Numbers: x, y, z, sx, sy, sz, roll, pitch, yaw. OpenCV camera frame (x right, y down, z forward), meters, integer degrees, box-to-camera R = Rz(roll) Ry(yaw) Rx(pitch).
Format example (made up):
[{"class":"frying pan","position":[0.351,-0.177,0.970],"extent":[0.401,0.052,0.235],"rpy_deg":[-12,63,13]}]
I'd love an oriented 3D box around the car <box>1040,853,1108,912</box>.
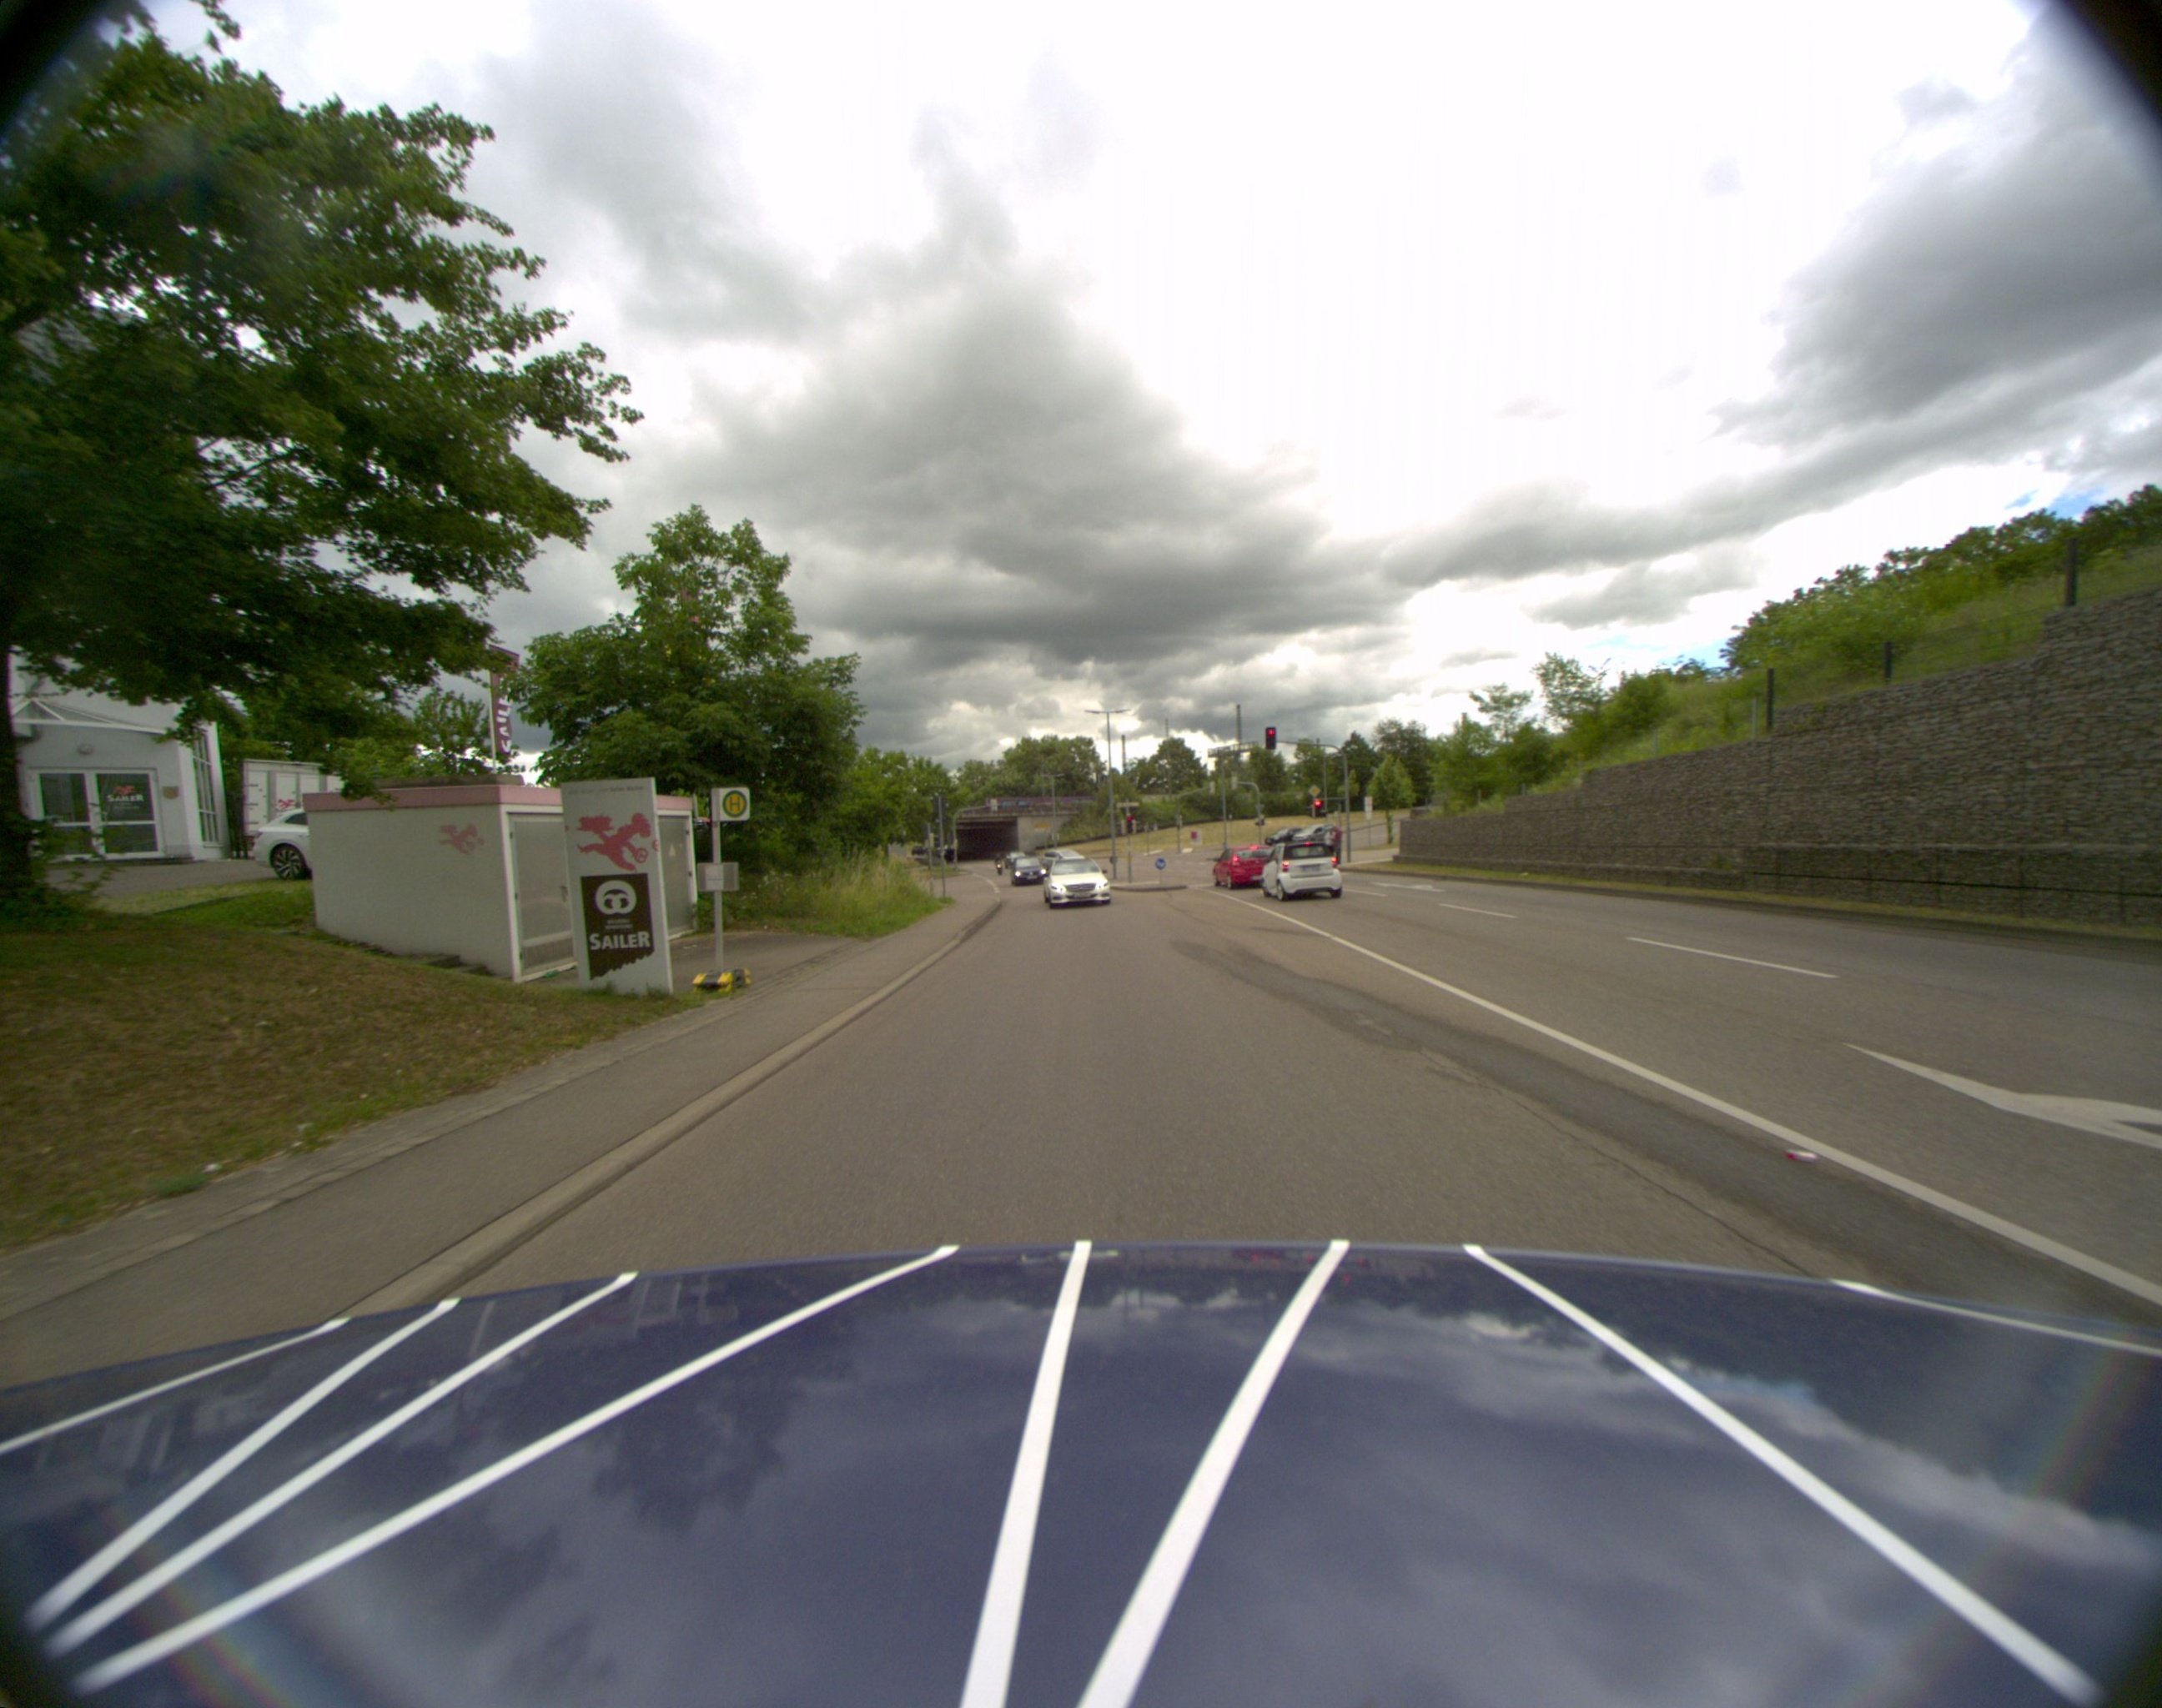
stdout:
[{"class":"car","position":[-0.213,0.839,24.418],"extent":[1.905,1.472,4.093],"rpy_deg":[-5,2,0]}]

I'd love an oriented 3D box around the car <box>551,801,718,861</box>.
[{"class":"car","position":[-14.835,-0.788,25.425],"extent":[4.518,1.629,1.827],"rpy_deg":[-6,3,-32]}]

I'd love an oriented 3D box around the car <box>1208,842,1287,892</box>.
[{"class":"car","position":[5.837,0.433,27.101],"extent":[1.759,1.514,4.092],"rpy_deg":[-5,0,-1]}]

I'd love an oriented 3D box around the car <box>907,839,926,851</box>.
[{"class":"car","position":[-27.069,-1.414,124.893],"extent":[1.968,1.781,3.991],"rpy_deg":[-6,2,-28]}]

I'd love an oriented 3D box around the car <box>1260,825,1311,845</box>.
[{"class":"car","position":[19.218,-1.786,71.258],"extent":[4.267,1.543,2.106],"rpy_deg":[-6,3,-29]}]

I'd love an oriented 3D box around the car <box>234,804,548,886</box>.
[{"class":"car","position":[-13.295,-0.188,14.787],"extent":[4.705,1.373,1.715],"rpy_deg":[-2,3,5]}]

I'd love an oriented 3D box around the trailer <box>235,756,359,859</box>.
[{"class":"trailer","position":[-27.196,-1.516,26.624],"extent":[2.474,3.038,6.476],"rpy_deg":[-7,3,-43]}]

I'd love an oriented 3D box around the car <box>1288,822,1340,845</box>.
[{"class":"car","position":[20.654,-1.797,67.325],"extent":[4.267,1.719,1.756],"rpy_deg":[-6,3,-27]}]

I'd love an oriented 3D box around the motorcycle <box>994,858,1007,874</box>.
[{"class":"motorcycle","position":[-6.395,0.953,60.264],"extent":[0.883,1.098,2.358],"rpy_deg":[-5,2,-9]}]

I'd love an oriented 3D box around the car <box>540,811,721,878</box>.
[{"class":"car","position":[-13.713,-0.330,23.372],"extent":[4.517,1.629,1.827],"rpy_deg":[-6,3,-31]}]

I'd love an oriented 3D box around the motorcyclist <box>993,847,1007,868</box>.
[{"class":"motorcyclist","position":[-6.425,0.285,60.091],"extent":[0.883,1.596,1.242],"rpy_deg":[-5,2,-8]}]

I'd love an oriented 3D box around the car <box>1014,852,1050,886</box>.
[{"class":"car","position":[-2.666,0.770,41.976],"extent":[1.759,1.532,3.997],"rpy_deg":[-5,2,-2]}]

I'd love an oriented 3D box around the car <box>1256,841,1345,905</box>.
[{"class":"car","position":[5.927,0.475,20.785],"extent":[1.547,1.514,2.914],"rpy_deg":[-4,1,1]}]

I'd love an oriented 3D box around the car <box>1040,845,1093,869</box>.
[{"class":"car","position":[-1.191,0.252,59.751],"extent":[1.834,1.629,4.501],"rpy_deg":[-6,3,-35]}]

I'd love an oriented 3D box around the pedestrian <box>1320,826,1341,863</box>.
[{"class":"pedestrian","position":[11.687,-0.433,35.584],"extent":[0.664,1.669,0.625],"rpy_deg":[-2,3,39]}]

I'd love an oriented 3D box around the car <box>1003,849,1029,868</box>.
[{"class":"car","position":[-6.128,0.358,71.479],"extent":[1.760,1.525,4.248],"rpy_deg":[-5,2,-12]}]

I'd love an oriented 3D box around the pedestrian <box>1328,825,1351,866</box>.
[{"class":"pedestrian","position":[11.892,-0.393,34.933],"extent":[0.624,1.817,0.664],"rpy_deg":[-5,3,-15]}]
